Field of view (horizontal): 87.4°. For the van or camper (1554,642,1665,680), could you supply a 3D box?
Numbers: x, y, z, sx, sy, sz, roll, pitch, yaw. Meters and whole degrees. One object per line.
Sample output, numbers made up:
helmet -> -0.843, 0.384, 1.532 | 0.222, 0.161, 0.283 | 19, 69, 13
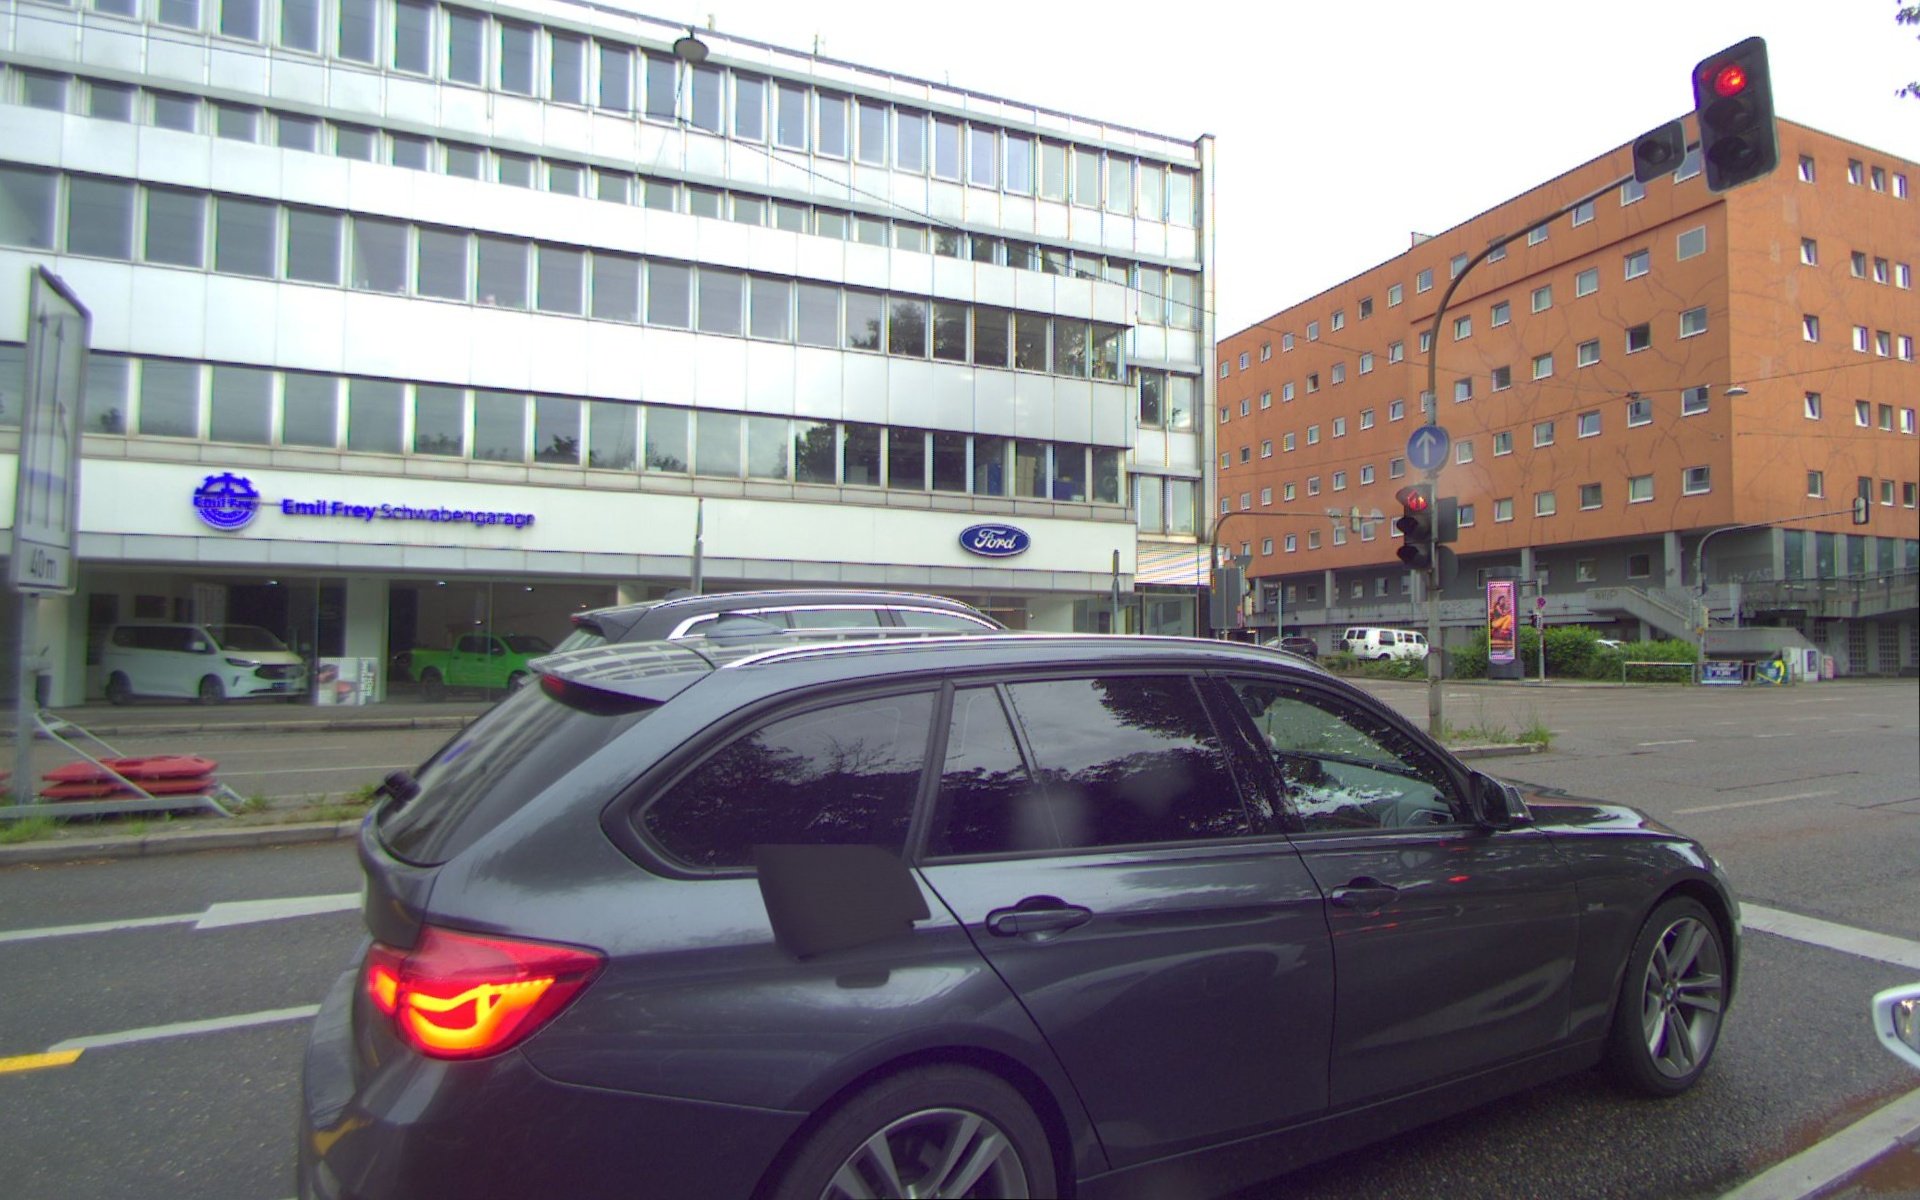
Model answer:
van or camper -> 30.030, 2.784, 46.571 | 1.887, 1.648, 3.978 | 1, -2, -23

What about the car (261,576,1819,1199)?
car -> 0.609, 0.798, 3.153 | 4.424, 1.477, 1.769 | 2, -3, -30

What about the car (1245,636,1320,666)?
car -> 18.969, 2.992, 59.019 | 4.027, 1.633, 1.706 | 2, 0, -23

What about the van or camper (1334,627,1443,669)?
van or camper -> 22.358, 2.517, 52.385 | 5.376, 2.004, 2.121 | 2, 0, -23

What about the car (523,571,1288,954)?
car -> -0.249, 0.768, 6.243 | 4.389, 1.678, 1.802 | 2, 0, -28
